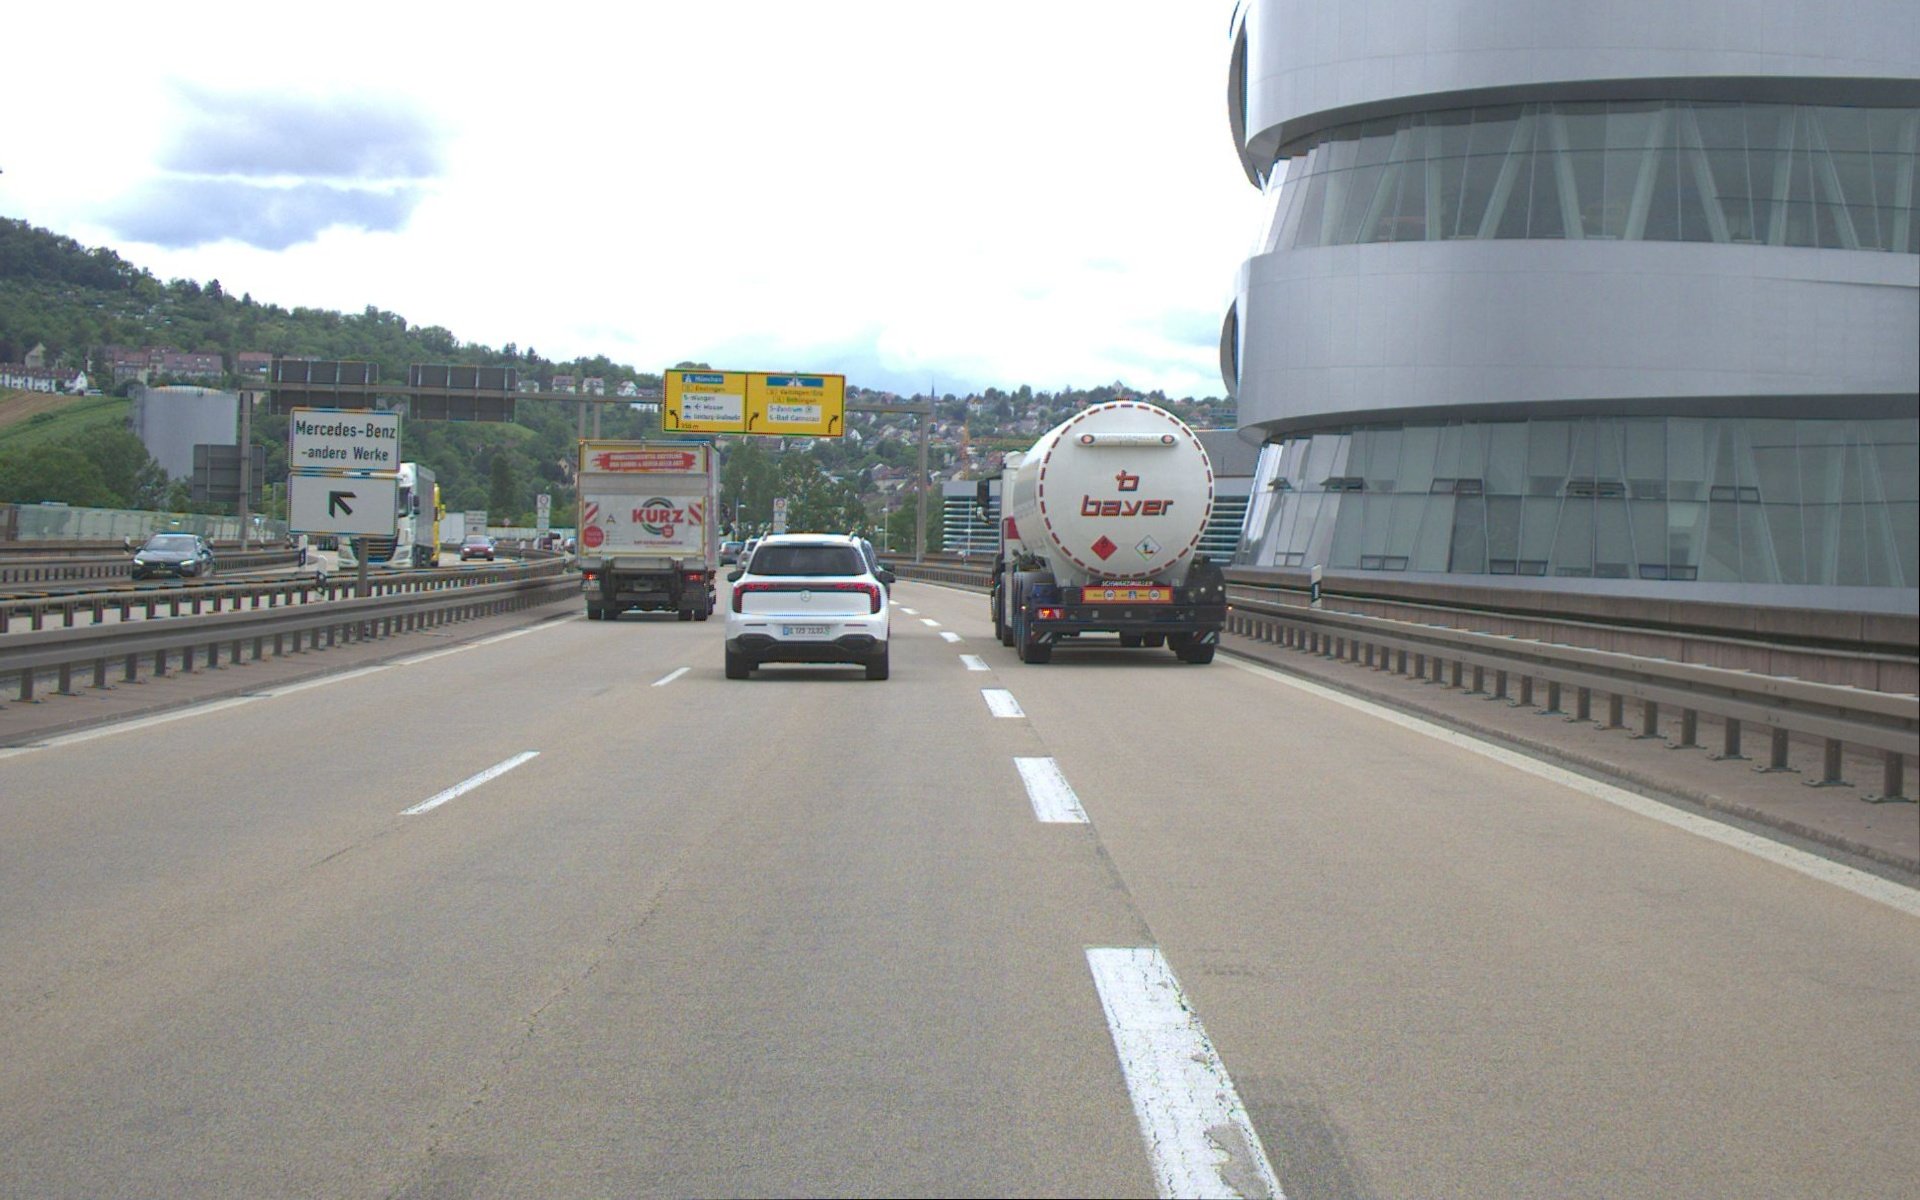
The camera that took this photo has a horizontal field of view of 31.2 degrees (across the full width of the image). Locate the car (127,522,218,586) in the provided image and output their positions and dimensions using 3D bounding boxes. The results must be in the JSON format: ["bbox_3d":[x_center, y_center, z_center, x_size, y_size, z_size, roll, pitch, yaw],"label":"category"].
[{"bbox_3d":[-21.538,-1.242,94.167,1.683,1.644,4.360,2,0,-3],"label":"car"}]

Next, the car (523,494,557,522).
[{"bbox_3d":[-25.399,-5.546,208.007,1.993,1.601,4.808,1,0,-6],"label":"car"}]

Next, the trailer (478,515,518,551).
[{"bbox_3d":[-26.565,-3.836,197.655,1.993,2.007,4.000,1,0,-3],"label":"trailer"}]

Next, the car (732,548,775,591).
[{"bbox_3d":[-8.327,-1.236,138.857,1.683,1.644,4.360,2,0,-3],"label":"car"}]

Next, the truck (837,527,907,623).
[{"bbox_3d":[-4.336,-1.244,167.964,3.056,4.547,8.305,1,0,-4],"label":"truck"}]

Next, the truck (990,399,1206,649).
[{"bbox_3d":[2.063,-1.134,53.741,3.014,3.644,6.273,1,0,-1],"label":"truck"}]

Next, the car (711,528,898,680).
[{"bbox_3d":[-1.762,0.033,40.371,1.993,1.669,4.408,1,0,0],"label":"car"}]

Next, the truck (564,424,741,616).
[{"bbox_3d":[-6.214,-1.578,70.685,3.057,3.678,8.304,1,0,-1],"label":"truck"}]

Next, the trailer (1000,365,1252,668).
[{"bbox_3d":[2.135,-1.079,47.362,3.057,3.777,8.304,1,0,0],"label":"trailer"}]

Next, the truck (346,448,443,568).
[{"bbox_3d":[-19.865,-3.193,121.017,2.771,4.065,5.647,1,0,-3],"label":"truck"}]
